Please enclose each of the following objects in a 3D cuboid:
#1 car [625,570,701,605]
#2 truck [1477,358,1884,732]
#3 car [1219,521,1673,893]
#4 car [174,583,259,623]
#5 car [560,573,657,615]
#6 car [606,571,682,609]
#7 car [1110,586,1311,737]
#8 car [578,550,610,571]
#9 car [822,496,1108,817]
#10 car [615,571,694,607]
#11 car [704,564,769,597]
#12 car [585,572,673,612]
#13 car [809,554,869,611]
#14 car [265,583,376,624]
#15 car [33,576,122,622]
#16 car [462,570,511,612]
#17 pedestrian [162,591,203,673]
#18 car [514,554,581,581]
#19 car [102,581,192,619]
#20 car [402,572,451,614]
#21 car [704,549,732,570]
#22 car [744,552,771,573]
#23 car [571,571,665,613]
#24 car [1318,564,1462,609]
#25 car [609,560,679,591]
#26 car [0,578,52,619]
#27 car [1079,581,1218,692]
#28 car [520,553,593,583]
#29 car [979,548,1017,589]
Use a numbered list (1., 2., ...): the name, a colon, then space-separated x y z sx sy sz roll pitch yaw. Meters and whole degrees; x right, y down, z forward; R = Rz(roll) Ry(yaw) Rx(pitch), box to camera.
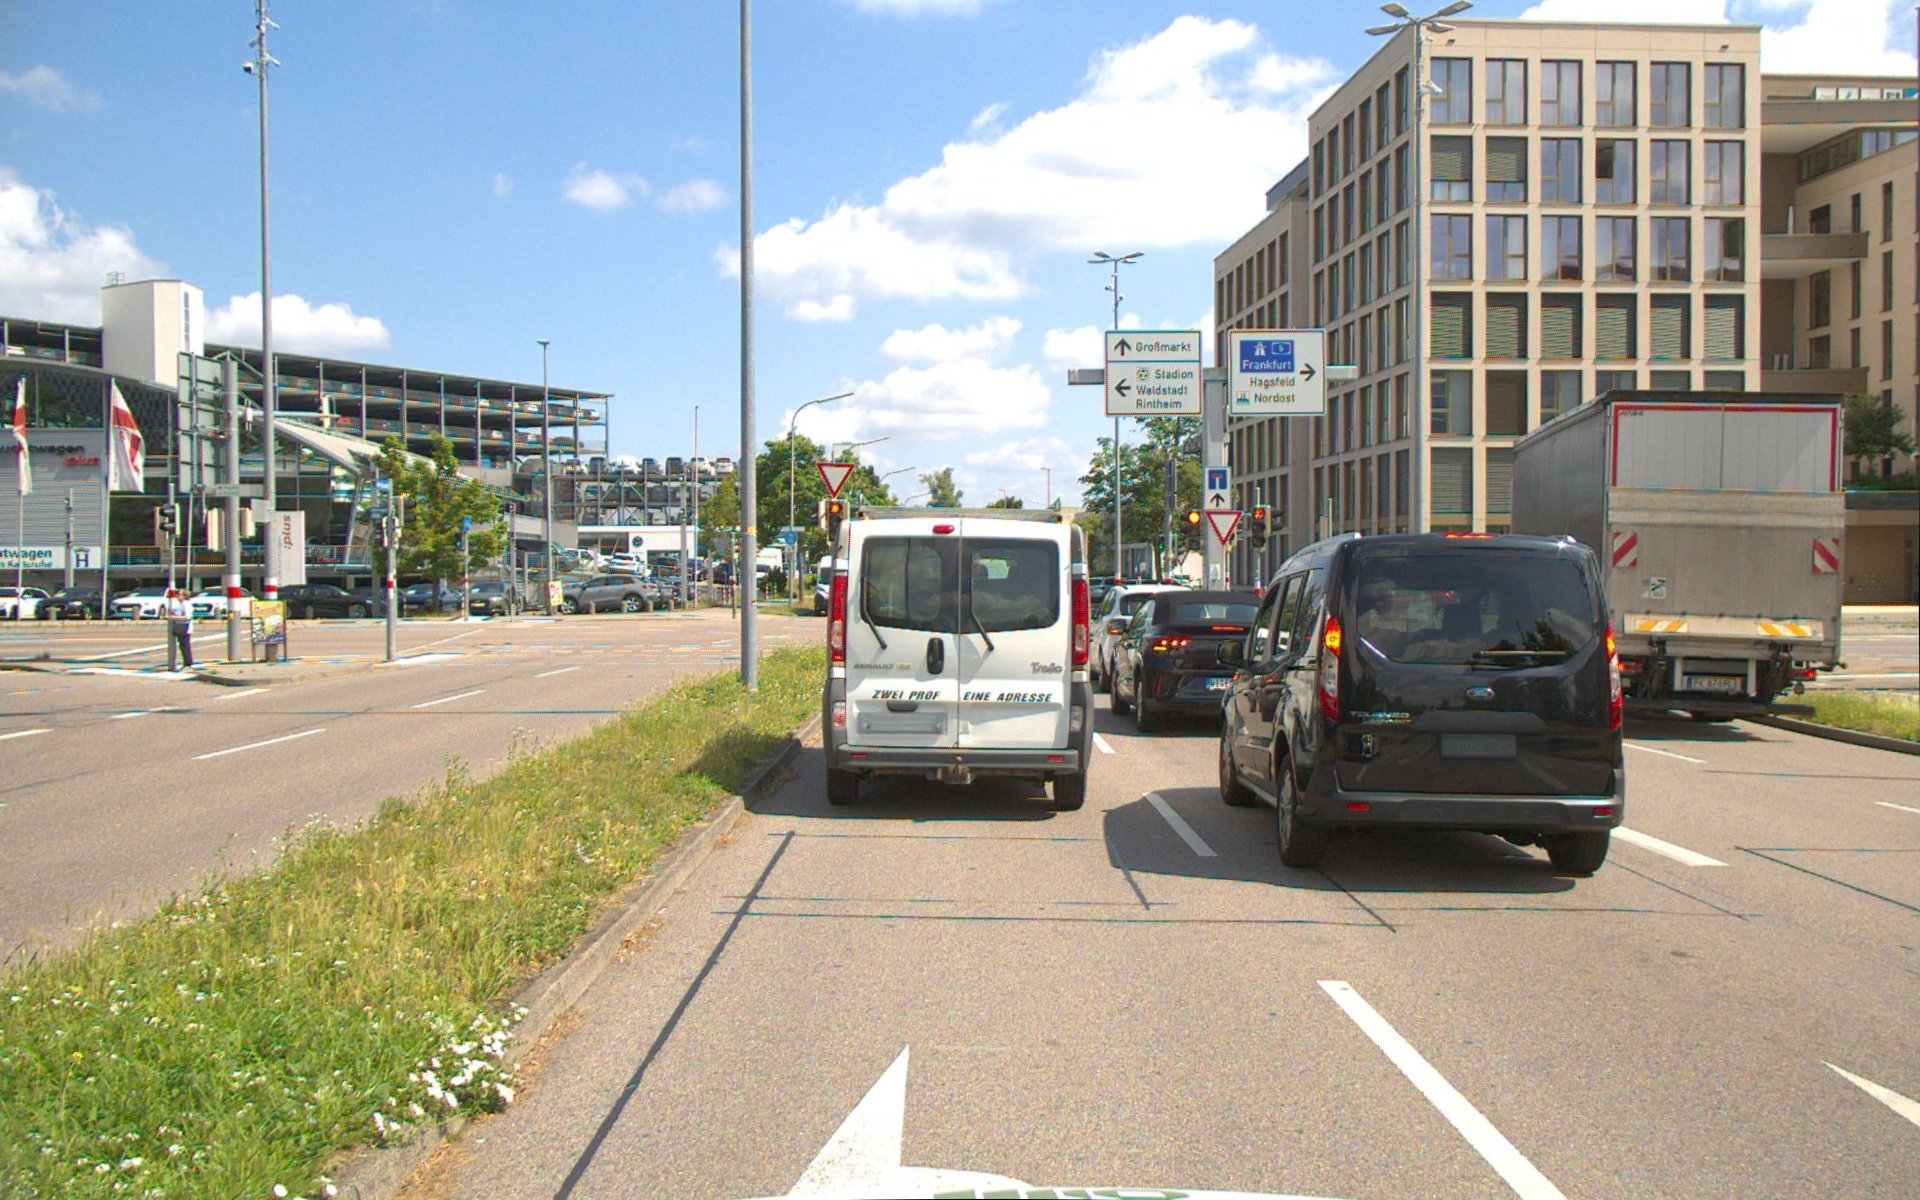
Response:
1. car: -16.088 -0.682 89.688 3.836 1.742 1.687 -1 1 -4
2. truck: 9.178 -0.699 22.390 3.063 4.009 8.867 1 1 10
3. car: 2.763 0.519 10.362 1.782 1.840 4.001 1 1 2
4. car: -28.923 0.091 64.464 1.741 1.475 4.026 0 1 -4
5. car: -14.997 -0.261 70.726 3.786 1.668 1.856 -1 1 -4
6. car: -15.524 -0.492 81.335 3.439 1.742 1.602 -1 1 -4
7. car: 2.759 0.631 19.048 1.704 1.521 4.000 1 0 0
8. car: -27.431 -2.943 124.009 1.810 1.556 3.996 0 1 -5
9. car: 0.082 0.354 12.711 1.817 2.053 4.001 1 0 1
10. car: -15.920 -0.603 86.320 3.836 1.742 1.687 -1 1 -4
11. car: -13.775 -1.216 102.256 3.911 1.959 1.824 1 0 -7
12. car: -15.543 -0.404 77.754 3.836 1.742 1.687 -1 1 -4
13. car: -5.132 -0.792 70.759 1.930 2.295 4.983 -1 1 2
14. car: -24.945 0.124 64.583 3.719 1.539 1.677 0 1 -6
15. car: -34.080 -0.056 63.935 1.722 1.689 3.614 0 1 -5
16. car: -18.826 -0.359 65.703 1.788 1.579 3.981 1 0 -17
17. pedestrian: -14.699 0.596 31.276 0.459 1.538 0.511 1 0 24
18. car: -27.270 -2.128 109.546 4.085 1.743 1.687 1 0 -7
19. car: -31.591 -0.025 64.390 1.870 1.400 3.749 0 1 -4
20. car: -21.133 -0.288 65.611 1.788 1.579 3.981 1 0 -17
21. car: -17.980 -2.989 122.817 1.810 1.556 3.996 0 1 -5
22. car: -15.053 -2.801 123.079 1.810 1.556 3.996 0 1 -5
23. car: -15.084 -0.367 73.174 3.836 1.742 1.687 -1 1 -4
24. car: 16.088 -0.520 62.029 4.883 1.635 1.999 0 1 -3
25. car: -19.350 -1.509 101.366 4.085 1.742 1.687 2 1 -7
26. car: -36.844 -0.086 63.791 1.842 1.512 3.697 0 1 -5
27. car: 2.863 0.525 25.834 1.704 1.570 4.000 1 0 0
28. car: -24.332 -1.897 99.842 4.085 1.743 1.687 1 0 -7
29. car: 2.157 -1.808 94.529 1.953 2.294 5.514 0 1 -1
